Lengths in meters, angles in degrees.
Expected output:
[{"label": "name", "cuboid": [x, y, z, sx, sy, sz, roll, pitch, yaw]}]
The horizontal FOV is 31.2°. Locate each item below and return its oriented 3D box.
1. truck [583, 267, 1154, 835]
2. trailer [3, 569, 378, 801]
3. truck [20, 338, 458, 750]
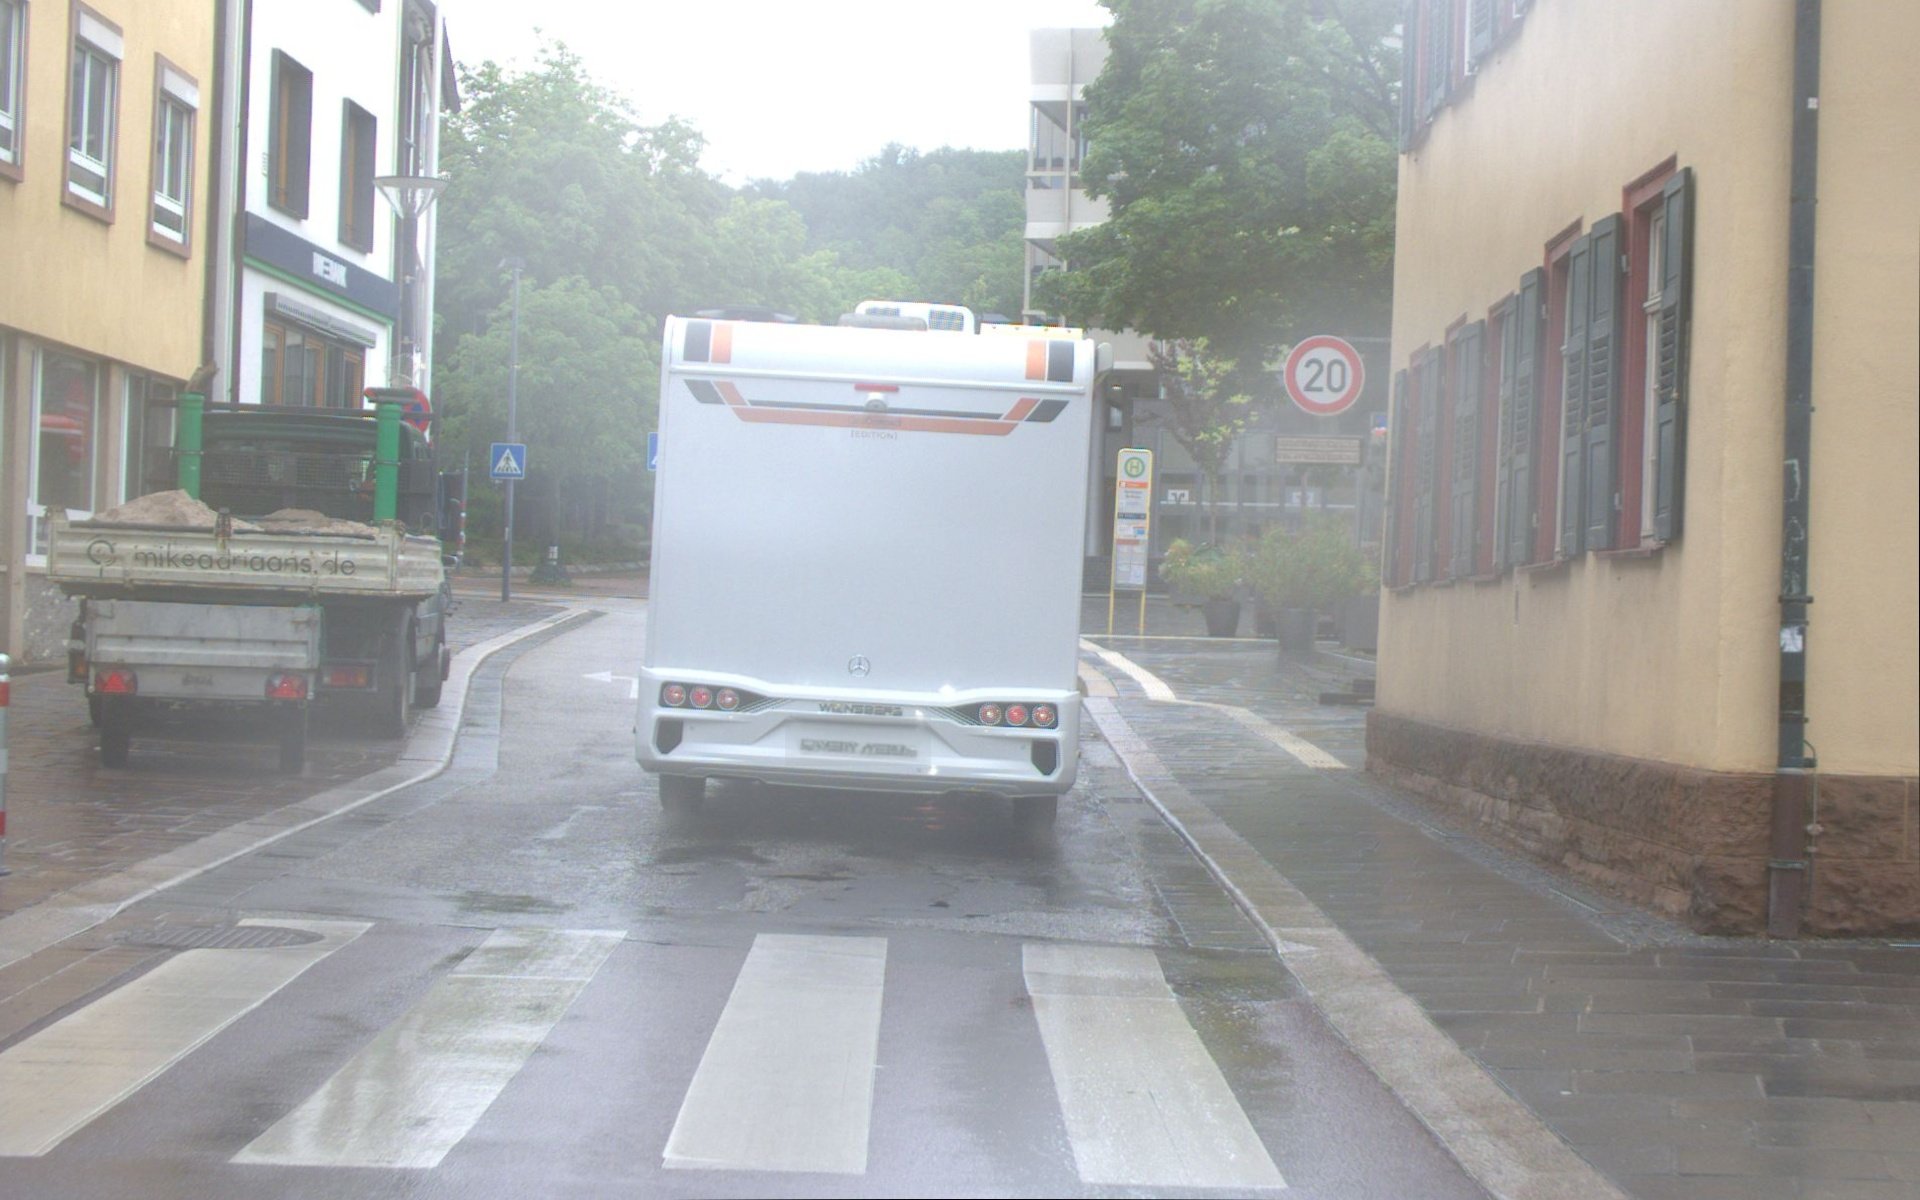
[{"label": "truck", "cuboid": [-0.399, -0.257, 20.146, 2.806, 2.787, 6.107, 1, 0, 1]}, {"label": "trailer", "cuboid": [-4.565, 0.467, 20.782, 1.852, 1.120, 3.020, 2, 3, -6]}, {"label": "truck", "cuboid": [-5.129, -0.519, 25.463, 2.399, 2.585, 6.485, 2, 3, -5]}]
